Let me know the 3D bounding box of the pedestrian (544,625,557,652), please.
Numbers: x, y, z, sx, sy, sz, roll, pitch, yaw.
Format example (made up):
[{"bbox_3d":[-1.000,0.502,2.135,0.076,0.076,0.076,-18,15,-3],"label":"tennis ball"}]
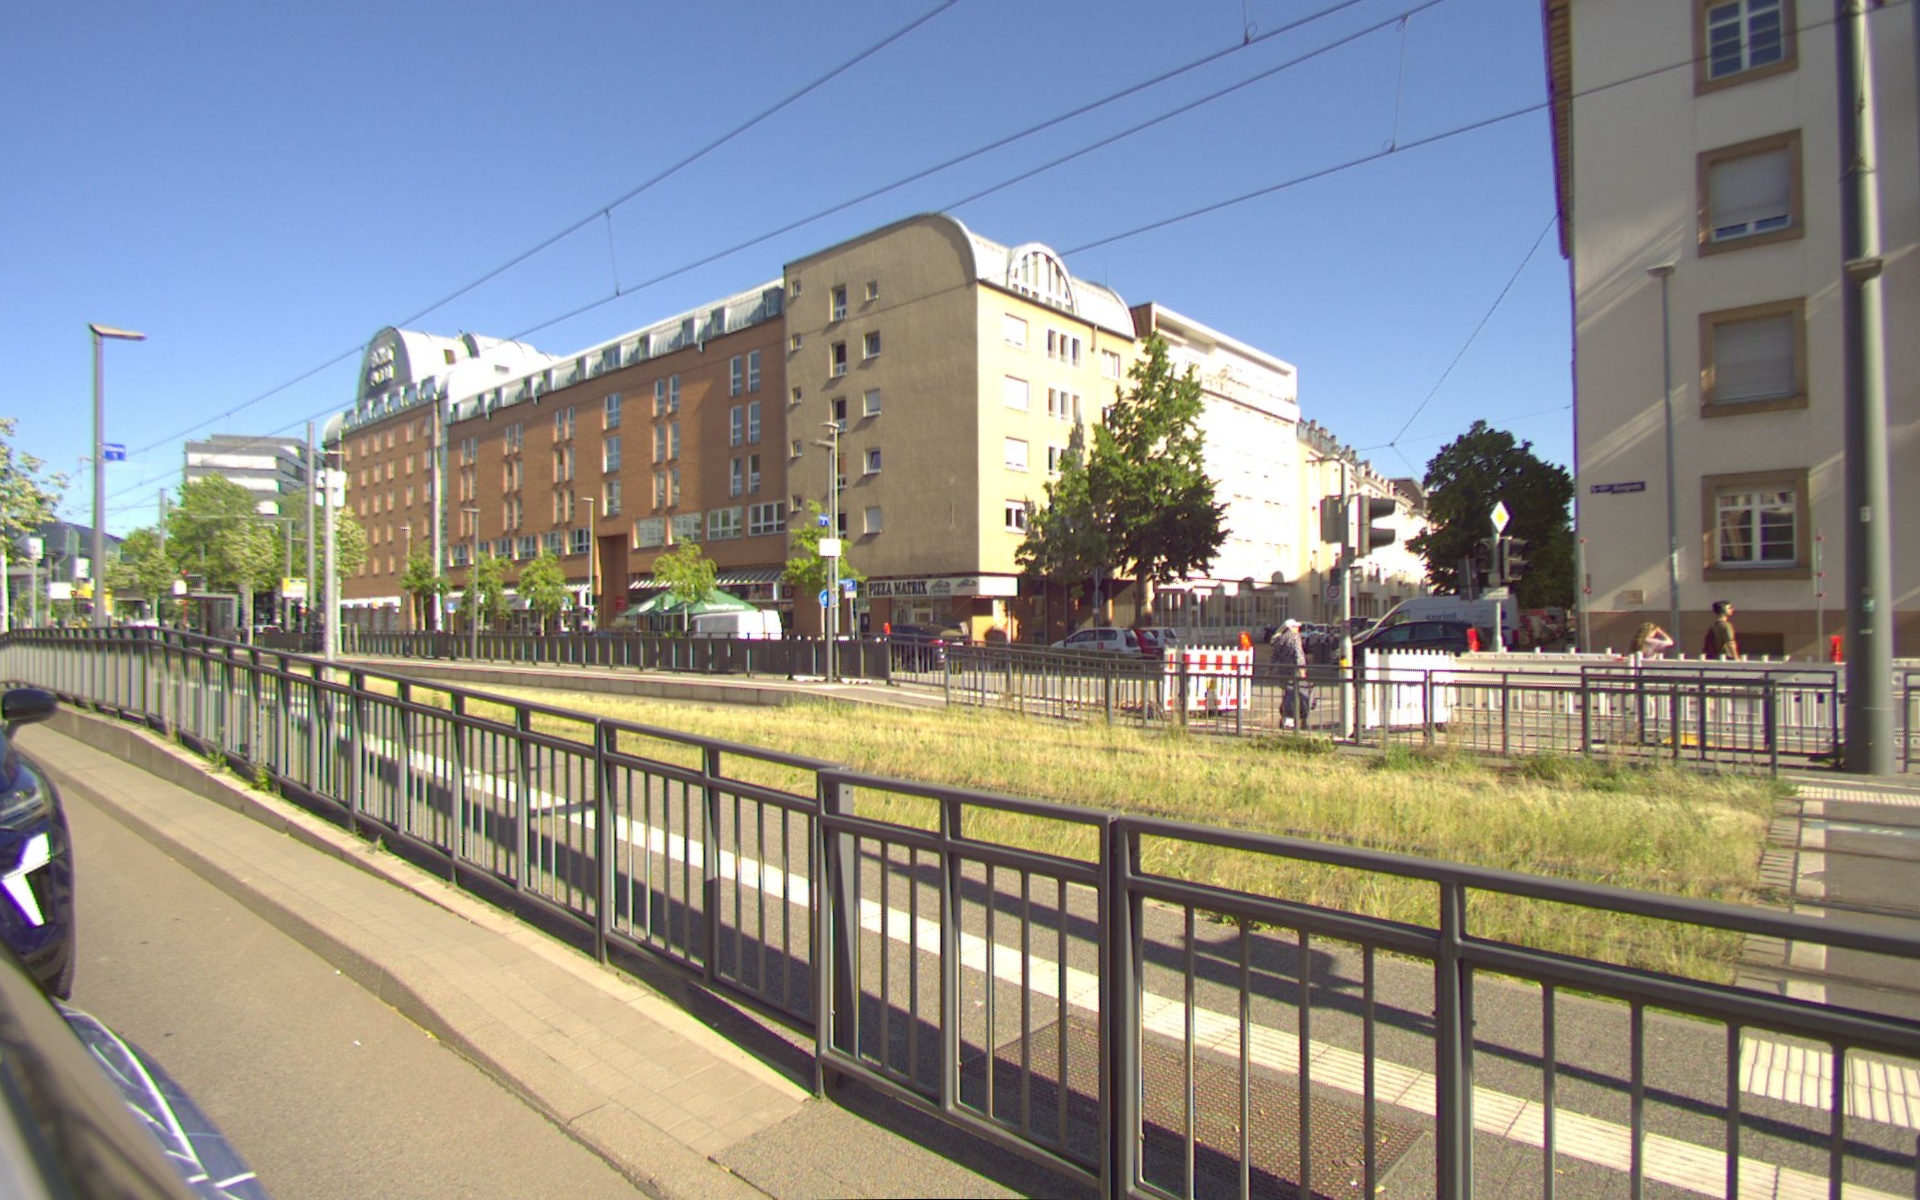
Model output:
[{"bbox_3d":[-28.232,2.633,69.778,0.644,1.854,0.614,-2,-2,39],"label":"pedestrian"}]

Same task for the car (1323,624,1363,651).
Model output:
[{"bbox_3d":[24.680,2.381,65.101,1.947,1.674,3.962,-1,-2,28],"label":"car"}]

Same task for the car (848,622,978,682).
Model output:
[{"bbox_3d":[-1.526,1.614,32.125,3.997,1.773,1.796,-2,-2,40],"label":"car"}]

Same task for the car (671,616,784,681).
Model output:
[{"bbox_3d":[-9.322,1.860,40.215,1.969,2.388,5.653,0,-2,-41],"label":"car"}]

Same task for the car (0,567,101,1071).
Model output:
[{"bbox_3d":[-5.008,0.729,4.084,3.998,1.618,1.779,-1,0,41],"label":"car"}]

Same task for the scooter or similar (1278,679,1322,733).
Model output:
[{"bbox_3d":[4.673,1.444,13.884,0.513,0.656,0.703,-1,-1,23],"label":"scooter or similar"}]

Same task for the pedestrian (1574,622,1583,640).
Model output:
[{"bbox_3d":[61.005,3.027,99.894,0.687,1.768,0.807,-2,-2,34],"label":"pedestrian"}]

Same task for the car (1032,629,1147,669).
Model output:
[{"bbox_3d":[4.929,1.836,38.576,3.980,1.462,1.768,-1,-2,28],"label":"car"}]

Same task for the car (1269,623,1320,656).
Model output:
[{"bbox_3d":[17.761,2.082,53.650,1.947,1.674,3.962,-1,-2,28],"label":"car"}]

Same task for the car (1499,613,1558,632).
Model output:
[{"bbox_3d":[44.476,1.774,79.286,3.853,1.472,1.740,-1,-2,24],"label":"car"}]

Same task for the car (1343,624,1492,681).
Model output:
[{"bbox_3d":[12.983,1.451,28.762,3.662,1.533,1.673,-1,-2,32],"label":"car"}]

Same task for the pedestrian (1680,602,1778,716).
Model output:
[{"bbox_3d":[12.595,0.941,16.594,0.853,1.794,0.912,-1,-1,-16],"label":"pedestrian"}]

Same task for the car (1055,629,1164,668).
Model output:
[{"bbox_3d":[5.991,1.914,40.539,3.980,1.462,1.768,-1,-2,28],"label":"car"}]

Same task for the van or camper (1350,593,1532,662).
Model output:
[{"bbox_3d":[17.797,1.025,37.554,5.933,2.419,1.979,-1,-2,30],"label":"van or camper"}]

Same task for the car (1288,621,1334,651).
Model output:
[{"bbox_3d":[20.019,2.029,57.633,1.947,1.674,3.962,-1,-2,28],"label":"car"}]

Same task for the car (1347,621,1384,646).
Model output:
[{"bbox_3d":[27.882,2.311,69.548,1.947,1.674,3.962,-1,-2,28],"label":"car"}]

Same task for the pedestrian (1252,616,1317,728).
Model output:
[{"bbox_3d":[4.722,1.019,14.699,0.793,1.548,0.809,-1,-1,23],"label":"pedestrian"}]

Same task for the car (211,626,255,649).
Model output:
[{"bbox_3d":[-58.107,2.944,80.846,3.998,1.696,1.973,-1,0,41],"label":"car"}]

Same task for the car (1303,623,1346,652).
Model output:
[{"bbox_3d":[22.135,2.262,61.426,1.947,1.674,3.962,-1,-2,28],"label":"car"}]

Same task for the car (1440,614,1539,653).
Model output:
[{"bbox_3d":[25.213,1.579,48.207,3.990,1.789,1.722,-1,-2,35],"label":"car"}]

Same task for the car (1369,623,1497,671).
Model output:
[{"bbox_3d":[15.628,1.529,33.484,3.654,1.533,1.673,-1,-2,32],"label":"car"}]

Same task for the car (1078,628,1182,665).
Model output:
[{"bbox_3d":[7.136,1.936,42.490,3.980,1.462,1.768,-1,-2,28],"label":"car"}]

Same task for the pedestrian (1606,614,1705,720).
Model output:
[{"bbox_3d":[10.618,1.003,15.483,0.856,1.548,0.909,-1,-1,2],"label":"pedestrian"}]

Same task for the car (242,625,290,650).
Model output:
[{"bbox_3d":[-50.988,2.724,74.299,3.998,1.696,1.973,-1,0,41],"label":"car"}]
